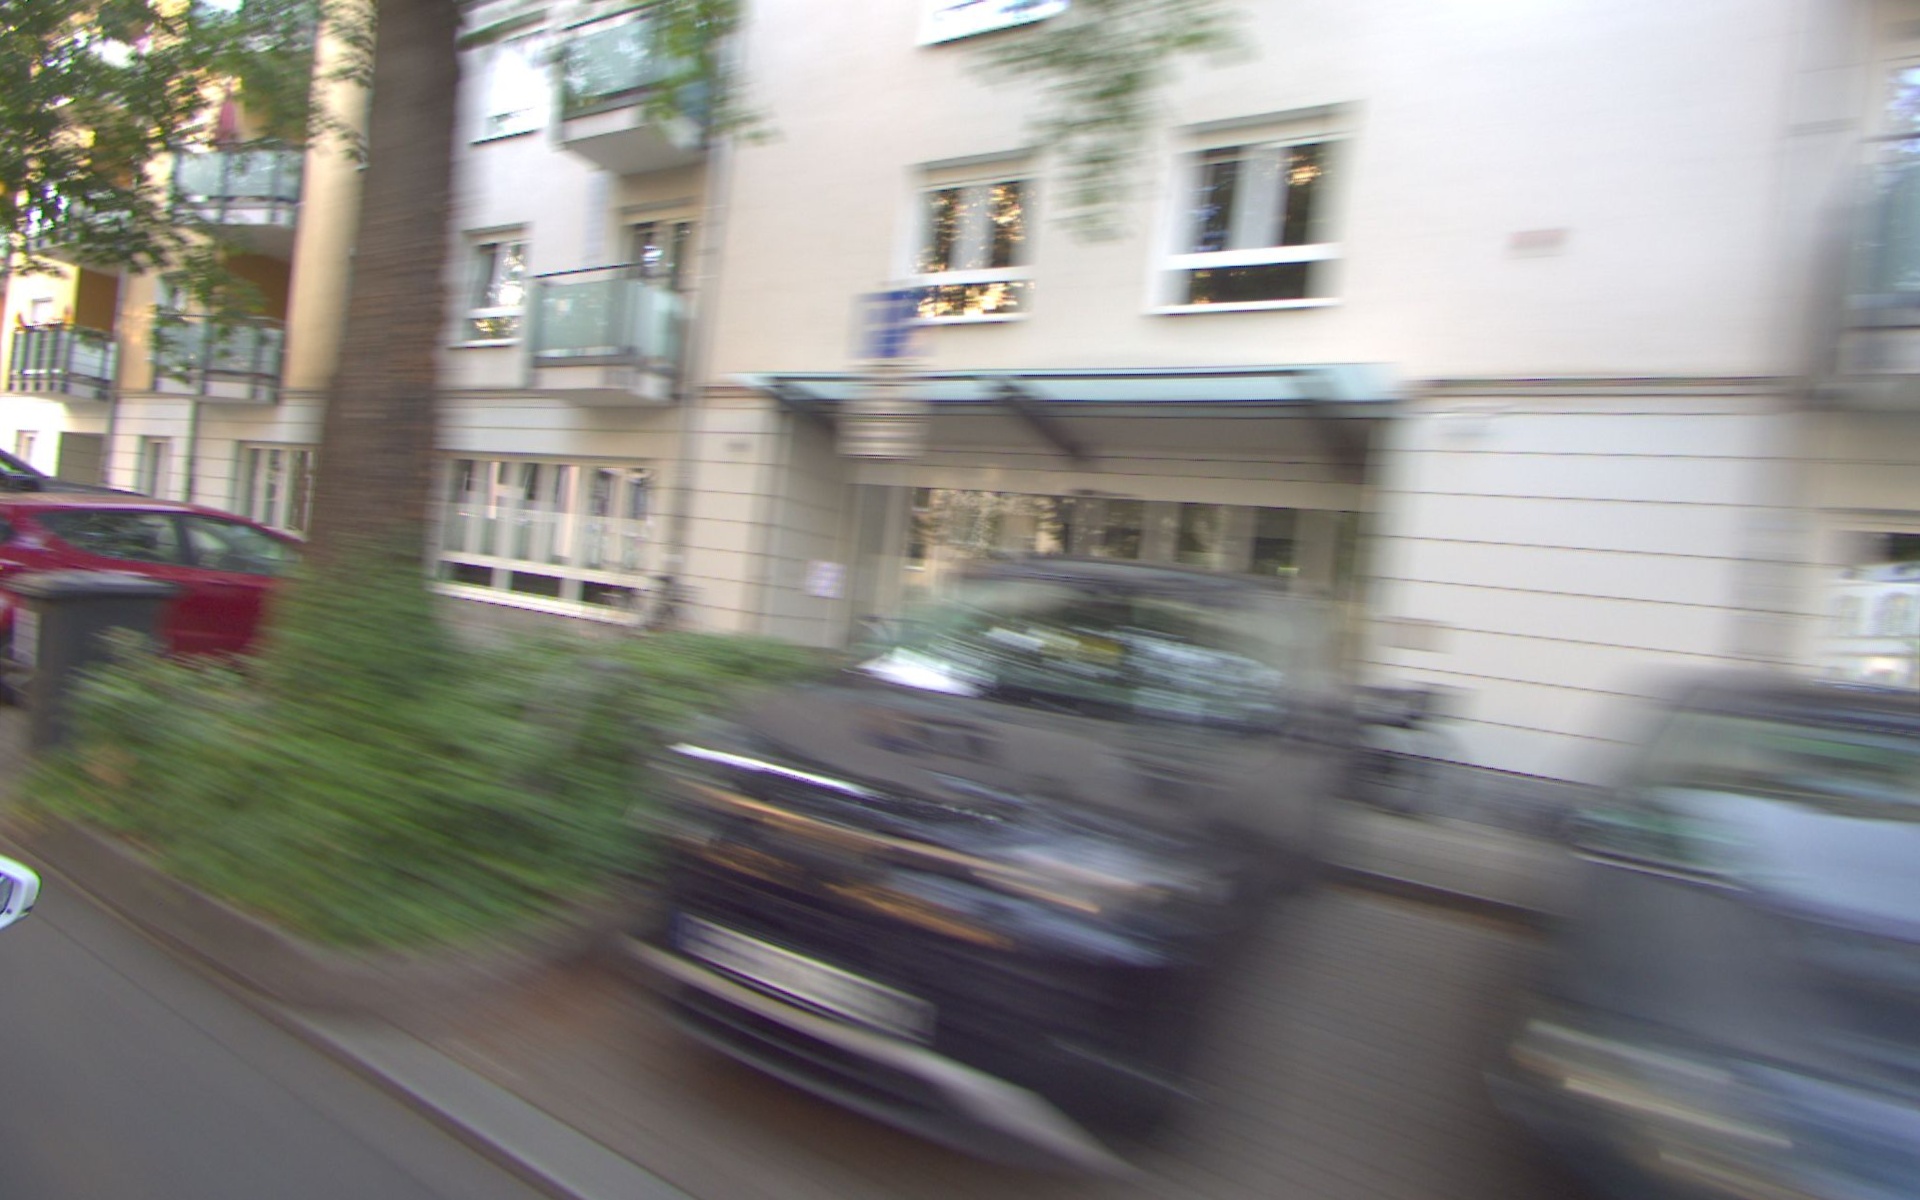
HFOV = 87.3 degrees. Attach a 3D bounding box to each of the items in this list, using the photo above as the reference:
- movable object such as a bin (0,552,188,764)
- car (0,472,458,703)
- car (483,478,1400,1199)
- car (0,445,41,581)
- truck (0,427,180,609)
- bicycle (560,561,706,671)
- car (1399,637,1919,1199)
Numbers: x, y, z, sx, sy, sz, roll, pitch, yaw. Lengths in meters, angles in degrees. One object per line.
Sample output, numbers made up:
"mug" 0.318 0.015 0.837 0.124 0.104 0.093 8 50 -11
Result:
"movable object such as a bin" -5.205 0.316 5.932 0.772 1.098 0.761 7 2 32
"car" -6.583 -0.132 8.455 1.845 1.565 3.779 7 2 29
"car" 0.631 0.599 4.444 1.975 1.639 4.646 7 3 27
"car" -16.909 -1.614 14.696 2.160 2.092 4.607 7 0 30
"truck" -14.506 -1.356 13.482 2.176 2.339 5.896 7 -1 31
"bicycle" -3.793 0.168 11.594 1.851 1.050 0.424 7 2 32
"car" 2.726 0.984 3.034 1.898 1.458 4.221 7 3 33
